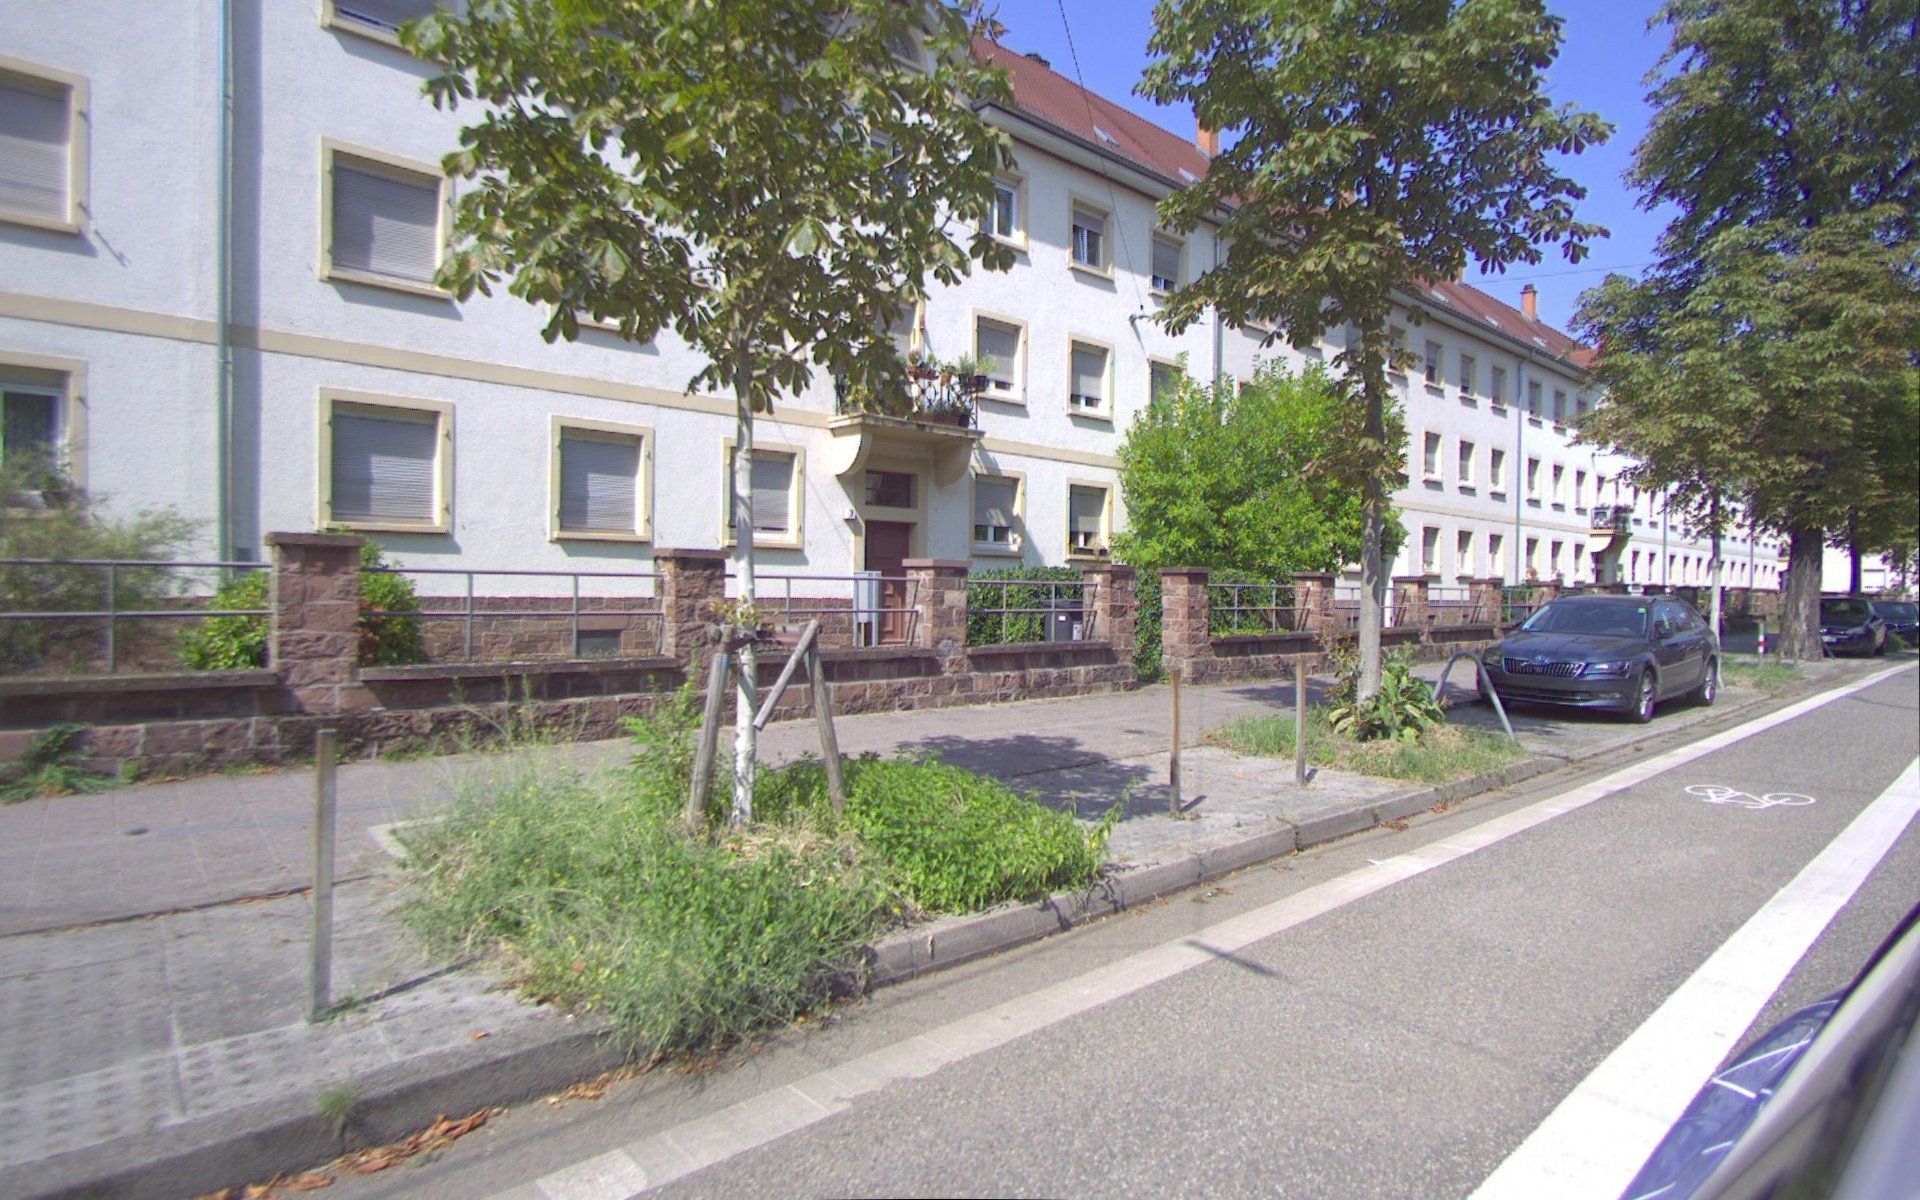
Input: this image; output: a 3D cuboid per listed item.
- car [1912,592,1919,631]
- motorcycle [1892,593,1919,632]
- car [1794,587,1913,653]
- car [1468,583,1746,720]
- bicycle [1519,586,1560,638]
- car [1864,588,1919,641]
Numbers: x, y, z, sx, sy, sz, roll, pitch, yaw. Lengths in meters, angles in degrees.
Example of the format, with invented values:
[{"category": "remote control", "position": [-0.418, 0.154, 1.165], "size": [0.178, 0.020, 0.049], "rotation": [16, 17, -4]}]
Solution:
[{"category": "car", "position": [38.437, 0.458, 39.373], "size": [3.968, 1.495, 1.620], "rotation": [0, 2, -41]}, {"category": "motorcycle", "position": [35.357, 0.461, 36.851], "size": [0.769, 1.385, 2.006], "rotation": [0, 1, -43]}, {"category": "car", "position": [22.441, 0.446, 25.365], "size": [4.311, 1.496, 1.758], "rotation": [0, 1, -42]}, {"category": "car", "position": [8.713, 0.548, 13.449], "size": [4.757, 1.496, 1.895], "rotation": [0, 1, -42]}, {"category": "bicycle", "position": [14.701, 0.288, 25.680], "size": [1.552, 1.273, 0.402], "rotation": [0, 1, -41]}, {"category": "car", "position": [30.358, 0.446, 32.201], "size": [4.380, 1.495, 1.760], "rotation": [-1, 5, -41]}]
